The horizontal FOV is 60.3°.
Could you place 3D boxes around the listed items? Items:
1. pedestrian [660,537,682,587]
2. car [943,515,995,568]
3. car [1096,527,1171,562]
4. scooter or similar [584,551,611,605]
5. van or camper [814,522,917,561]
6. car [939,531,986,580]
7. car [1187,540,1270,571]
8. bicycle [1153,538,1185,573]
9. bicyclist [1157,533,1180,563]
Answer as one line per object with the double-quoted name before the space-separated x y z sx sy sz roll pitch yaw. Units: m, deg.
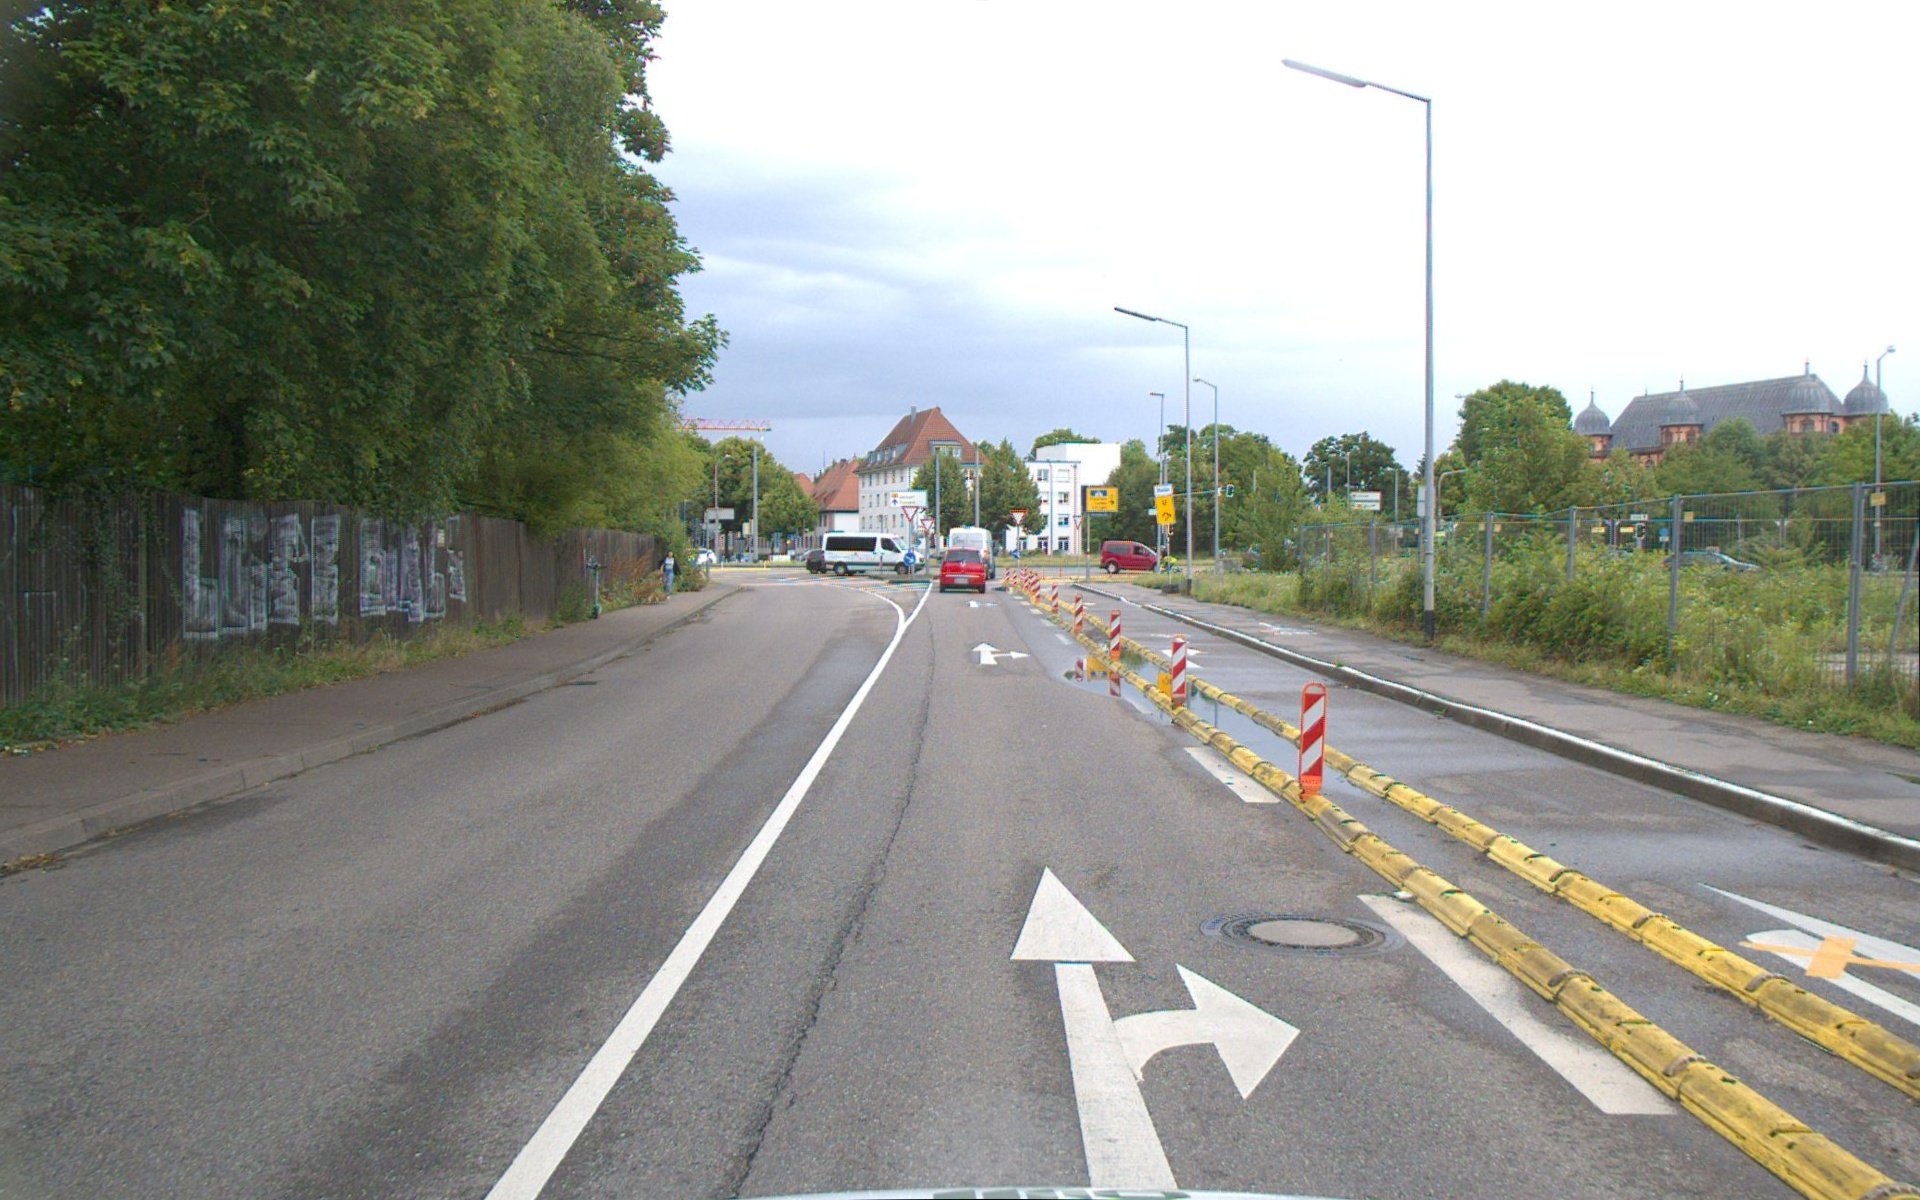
"pedestrian" -9.050 -1.201 51.840 0.600 1.555 0.723 -1 2 -5
"car" 0.497 -2.943 83.483 2.148 2.584 4.966 1 2 6
"car" 10.027 -3.195 95.308 4.105 1.951 2.118 0 2 11
"scooter or similar" -8.107 -0.500 36.977 0.414 1.191 1.302 -1 2 -5
"van or camper" -5.302 -3.282 92.910 5.416 2.152 2.002 0 2 13
"car" 0.077 -1.627 60.015 1.639 1.669 3.628 1 2 0
"car" 16.030 -2.675 98.848 4.528 1.826 2.103 1 2 43
"bicycle" 9.976 -2.129 79.023 1.446 1.640 0.606 0 2 3
"bicyclist" 10.082 -2.499 80.005 1.039 1.425 0.615 0 2 3
